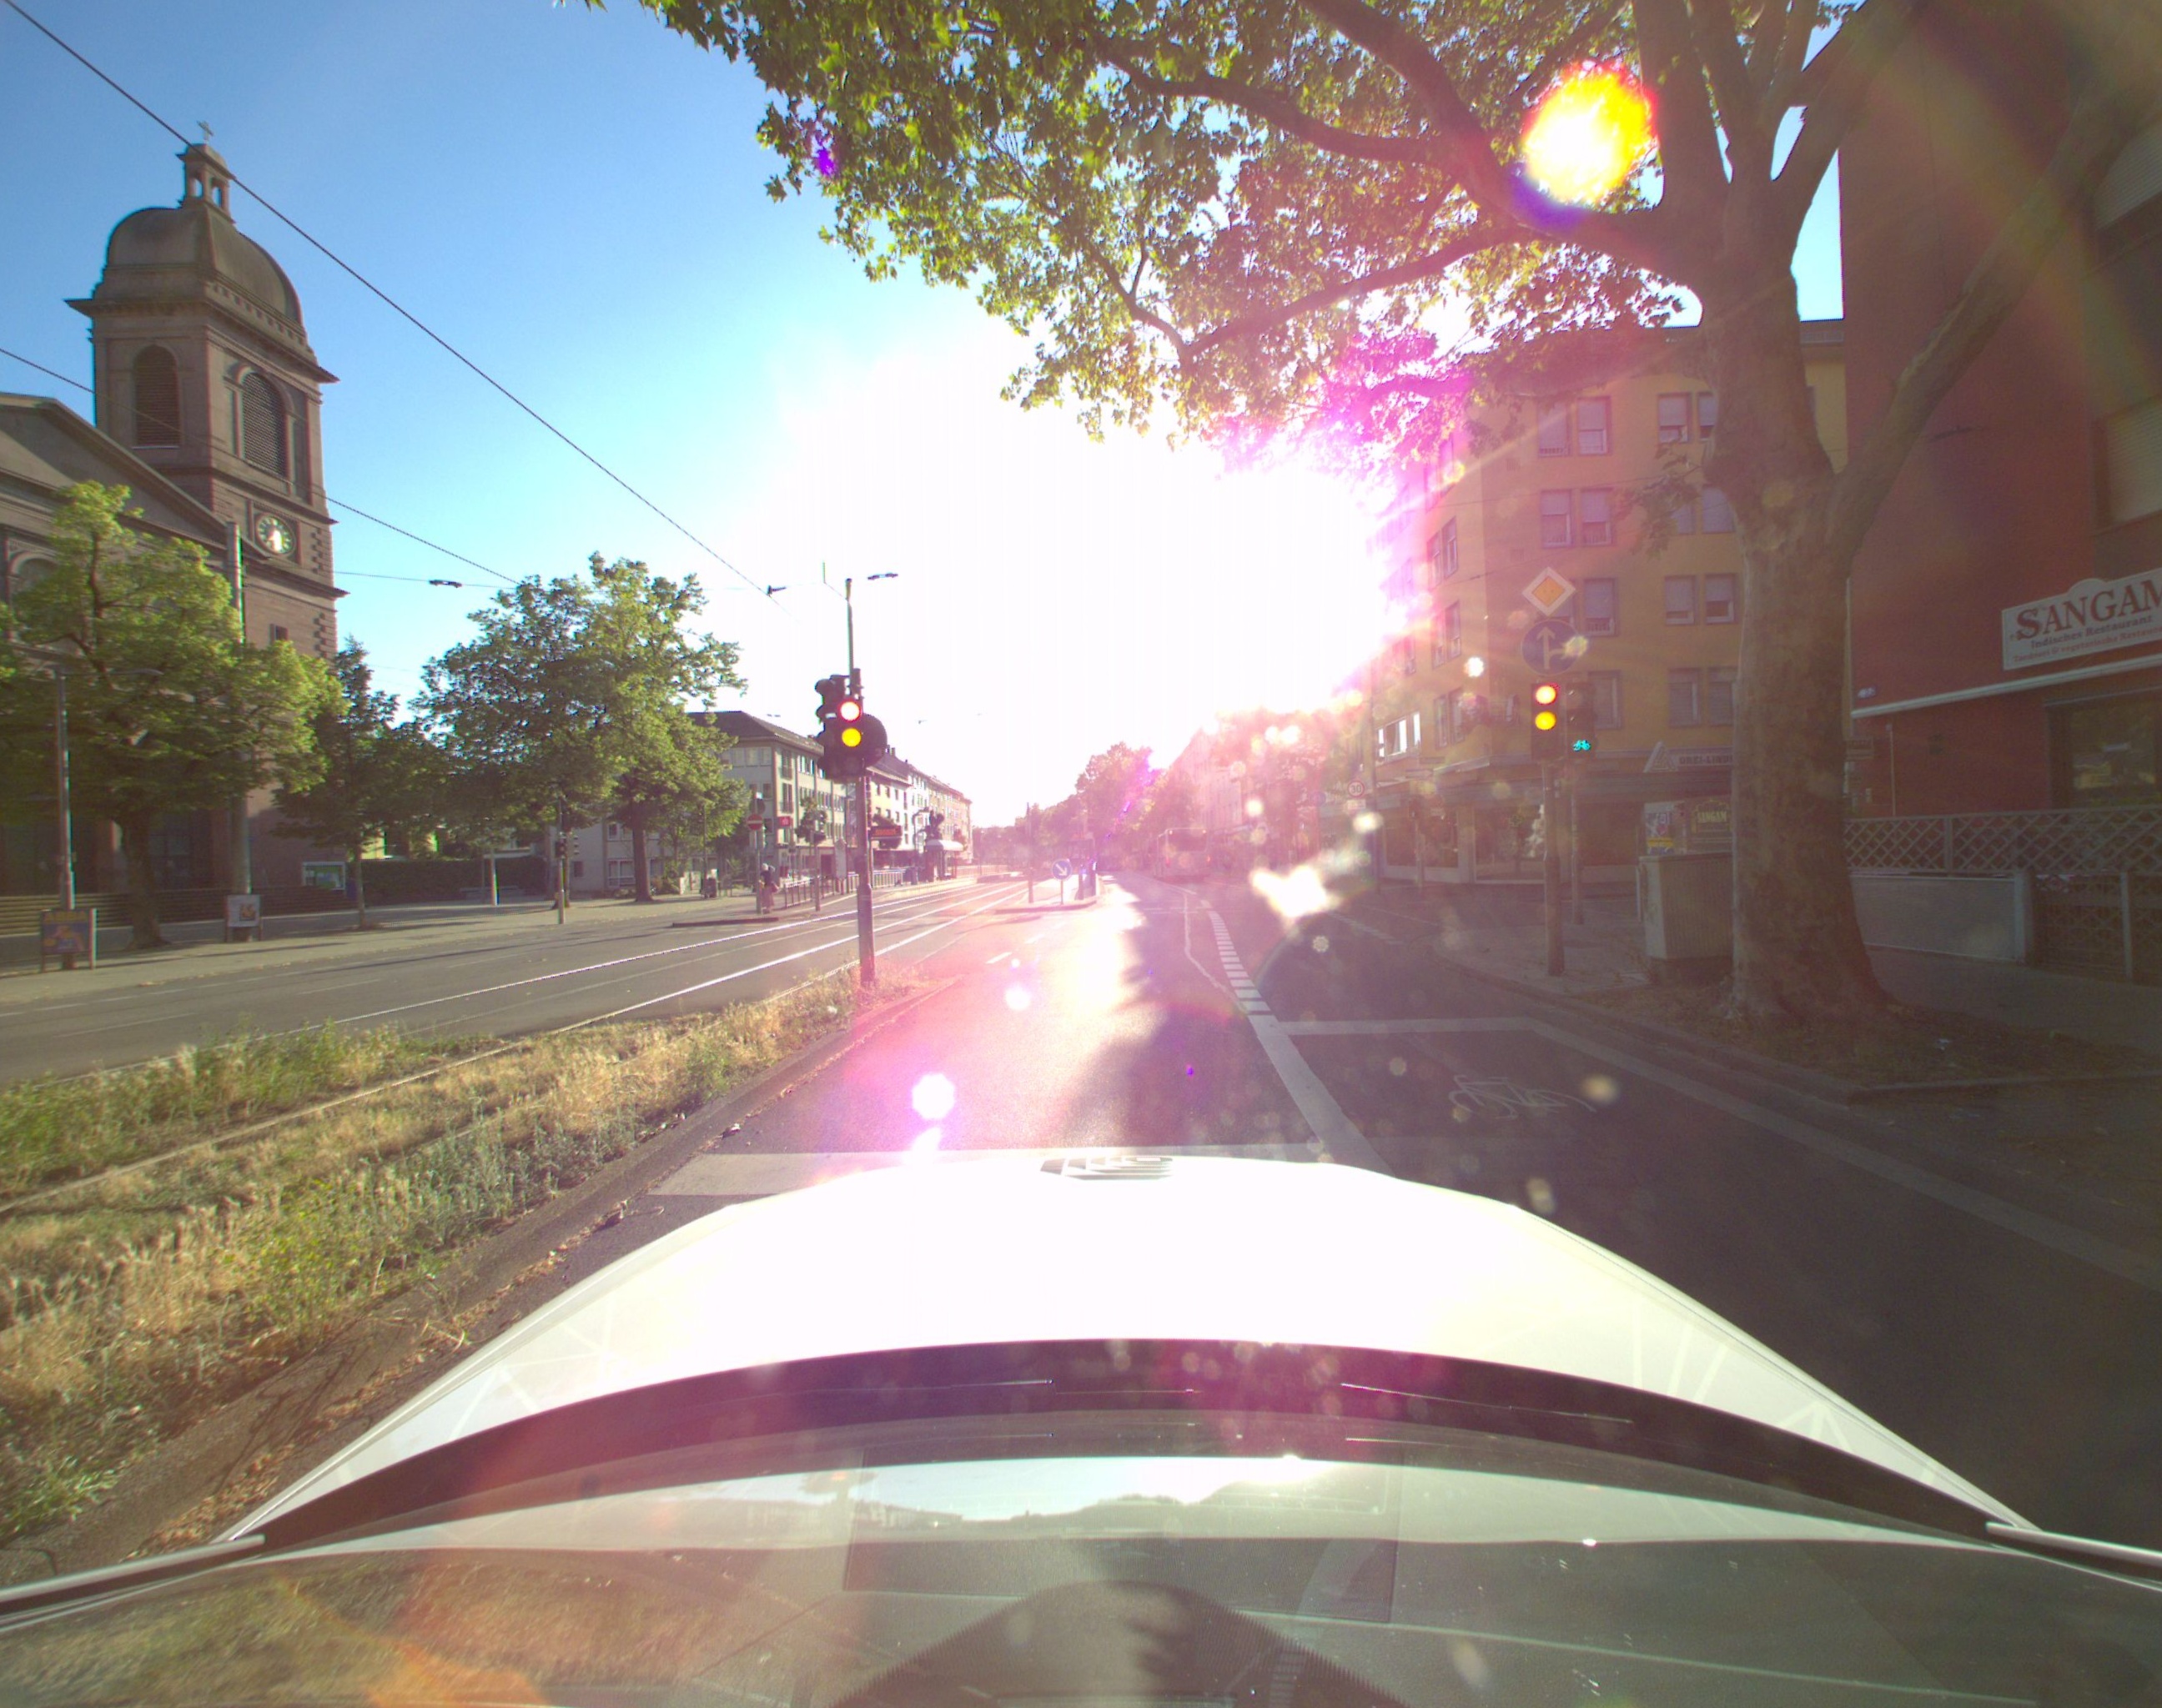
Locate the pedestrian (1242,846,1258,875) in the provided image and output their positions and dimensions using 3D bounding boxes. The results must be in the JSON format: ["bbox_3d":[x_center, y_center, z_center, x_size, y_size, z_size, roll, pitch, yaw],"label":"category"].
[{"bbox_3d":[10.460,0.412,50.422,0.721,1.779,0.766,-2,-1,1],"label":"pedestrian"}]

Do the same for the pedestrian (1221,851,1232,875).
[{"bbox_3d":[9.571,0.572,53.622,0.607,1.578,0.852,-2,0,5],"label":"pedestrian"}]

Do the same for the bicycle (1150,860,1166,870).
[{"bbox_3d":[9.534,1.393,100.903,1.879,1.077,0.755,-6,-1,4],"label":"bicycle"}]

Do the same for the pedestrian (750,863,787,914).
[{"bbox_3d":[-11.073,1.209,28.864,0.915,1.760,0.833,-2,-1,2],"label":"pedestrian"}]

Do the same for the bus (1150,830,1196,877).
[{"bbox_3d":[6.564,-0.032,59.423,2.686,3.118,9.075,-1,0,3],"label":"bus"}]

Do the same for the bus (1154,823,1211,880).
[{"bbox_3d":[6.114,-0.088,50.218,2.686,3.118,9.387,-1,0,3],"label":"bus"}]

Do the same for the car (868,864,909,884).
[{"bbox_3d":[-18.441,1.927,78.235,1.748,1.679,3.533,-2,0,35],"label":"car"}]

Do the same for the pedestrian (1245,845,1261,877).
[{"bbox_3d":[9.948,0.393,47.070,0.721,1.807,0.766,-2,-1,1],"label":"pedestrian"}]

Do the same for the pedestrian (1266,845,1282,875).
[{"bbox_3d":[11.556,0.372,48.809,0.721,1.723,0.766,-2,-1,1],"label":"pedestrian"}]

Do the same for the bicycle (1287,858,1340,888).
[{"bbox_3d":[8.875,0.714,31.130,1.793,1.008,0.540,-4,-1,-3],"label":"bicycle"}]

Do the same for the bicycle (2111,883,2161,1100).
[{"bbox_3d":[5.665,0.755,3.642,0.613,1.111,1.812,-3,1,28],"label":"bicycle"}]

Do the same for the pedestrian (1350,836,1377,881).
[{"bbox_3d":[11.351,0.180,32.750,0.741,1.780,0.895,-2,-1,1],"label":"pedestrian"}]

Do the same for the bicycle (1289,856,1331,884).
[{"bbox_3d":[8.946,0.625,31.811,1.479,1.008,0.454,-2,0,-2],"label":"bicycle"}]
